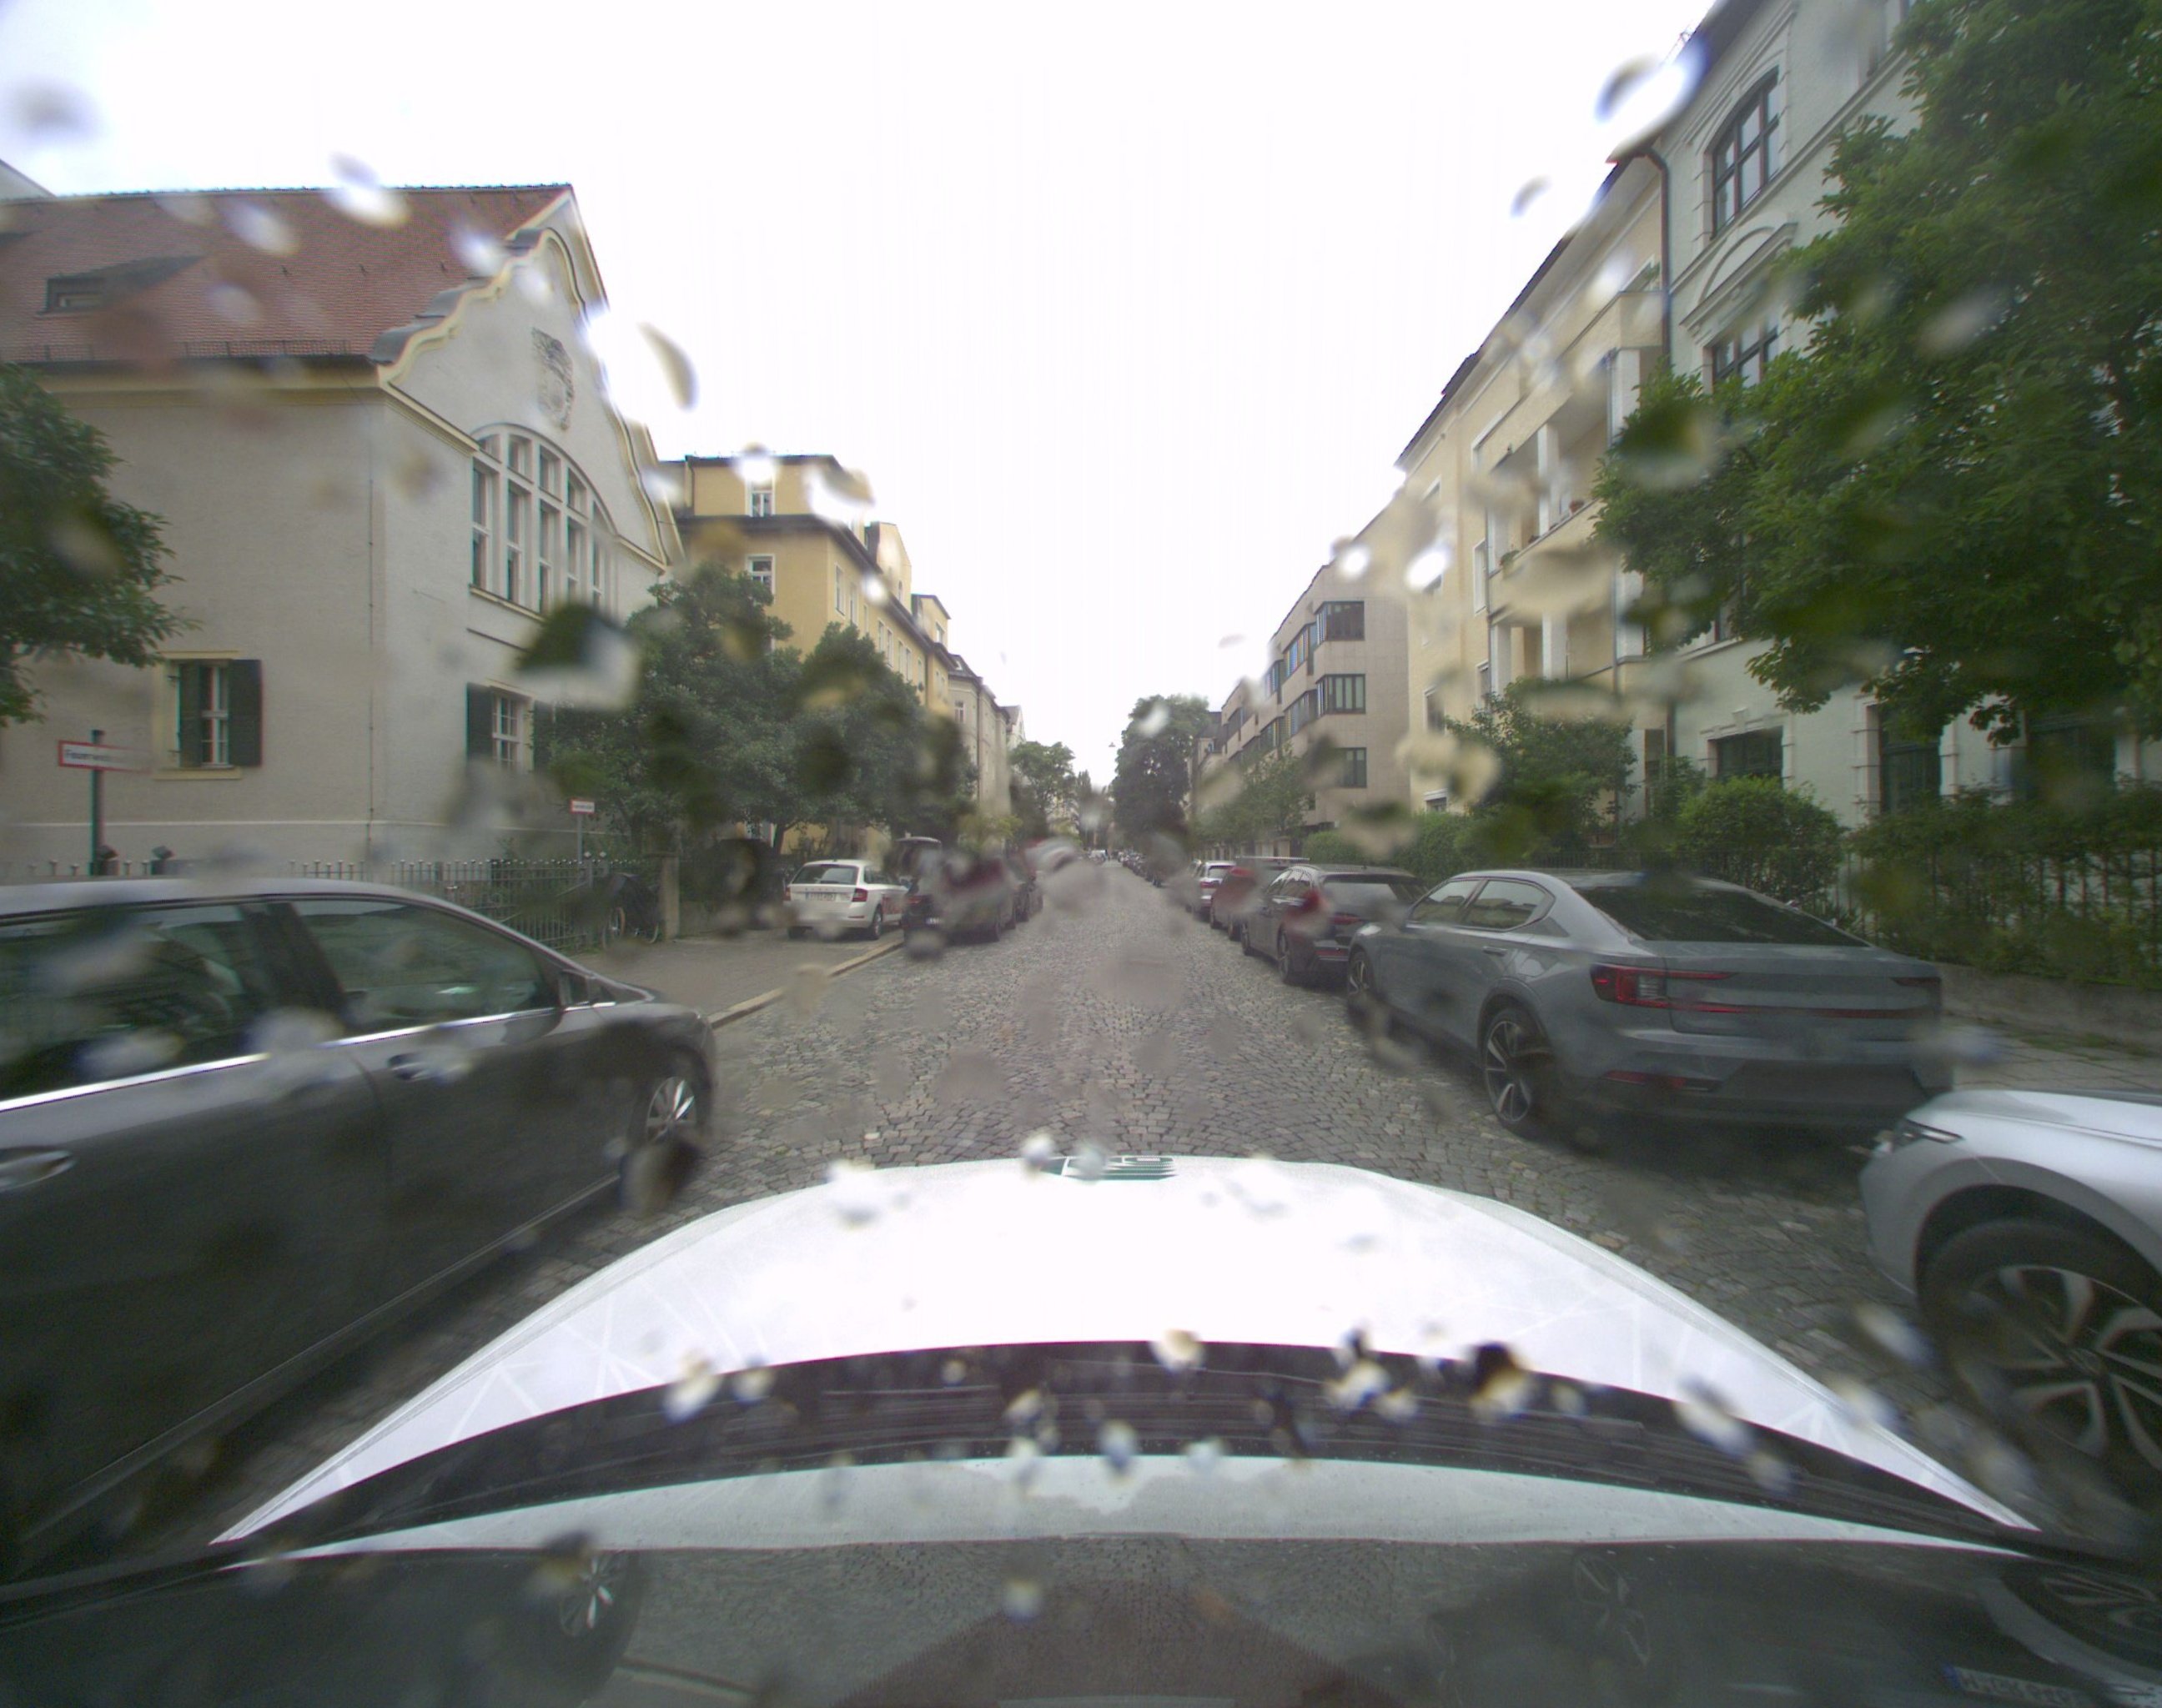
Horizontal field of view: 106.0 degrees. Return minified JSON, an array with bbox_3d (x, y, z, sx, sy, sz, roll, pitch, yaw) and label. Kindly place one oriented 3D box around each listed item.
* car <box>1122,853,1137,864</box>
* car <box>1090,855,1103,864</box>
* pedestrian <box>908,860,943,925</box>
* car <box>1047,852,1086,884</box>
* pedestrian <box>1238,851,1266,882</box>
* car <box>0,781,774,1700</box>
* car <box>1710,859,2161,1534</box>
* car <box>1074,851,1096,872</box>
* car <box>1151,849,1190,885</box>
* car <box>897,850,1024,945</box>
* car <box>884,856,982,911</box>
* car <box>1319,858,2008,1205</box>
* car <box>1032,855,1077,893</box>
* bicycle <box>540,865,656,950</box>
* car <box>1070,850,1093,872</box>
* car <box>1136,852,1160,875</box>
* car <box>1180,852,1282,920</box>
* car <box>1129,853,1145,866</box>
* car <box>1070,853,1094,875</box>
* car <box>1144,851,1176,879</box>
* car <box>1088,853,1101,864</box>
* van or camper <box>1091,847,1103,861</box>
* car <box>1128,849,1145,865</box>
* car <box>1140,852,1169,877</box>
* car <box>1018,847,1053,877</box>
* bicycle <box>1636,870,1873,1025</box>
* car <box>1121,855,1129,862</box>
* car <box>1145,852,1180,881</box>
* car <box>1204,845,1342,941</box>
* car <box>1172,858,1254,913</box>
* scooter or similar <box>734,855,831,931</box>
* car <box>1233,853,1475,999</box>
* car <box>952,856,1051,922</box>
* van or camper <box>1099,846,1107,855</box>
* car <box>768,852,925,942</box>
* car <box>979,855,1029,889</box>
[{"bbox_3d":[6.965,0.711,118.247,1.867,1.503,4.511,2,0,0],"label":"car"},{"bbox_3d":[2.795,0.991,144.215,1.864,1.580,4.214,2,0,5],"label":"car"},{"bbox_3d":[-4.056,0.994,21.229,0.762,1.650,0.583,0,0,3],"label":"pedestrian"},{"bbox_3d":[-0.859,0.818,50.569,1.998,1.809,5.178,-2,0,3],"label":"car"},{"bbox_3d":[8.634,0.607,41.215,1.211,1.493,1.131,-3,0,4],"label":"pedestrian"},{"bbox_3d":[-2.771,0.698,2.946,1.734,1.586,4.190,-2,0,-1],"label":"car"},{"bbox_3d":[3.197,0.770,0.854,1.748,1.460,4.483,2,0,3],"label":"car"},{"bbox_3d":[0.414,0.732,81.584,1.986,1.917,5.178,-4,0,1],"label":"car"},{"bbox_3d":[4.669,0.645,42.778,1.613,1.751,3.888,2,0,1],"label":"car"},{"bbox_3d":[-2.265,0.765,16.489,1.733,1.603,4.538,-2,0,1],"label":"car"},{"bbox_3d":[-4.143,0.774,23.583,1.768,1.417,4.565,1,0,3],"label":"car"},{"bbox_3d":[3.340,0.813,6.105,1.875,1.488,4.817,2,0,3],"label":"car"},{"bbox_3d":[-1.157,0.862,37.197,1.707,1.562,4.392,-2,0,2],"label":"car"},{"bbox_3d":[-7.844,0.819,13.349,0.603,1.259,2.061,0,0,2],"label":"bicycle"},{"bbox_3d":[0.088,0.610,75.180,1.866,1.917,4.828,-3,0,1],"label":"car"},{"bbox_3d":[5.576,0.772,67.801,1.865,1.735,4.896,1,0,3],"label":"car"},{"bbox_3d":[3.784,0.745,21.370,1.985,1.552,4.989,1,0,3],"label":"car"},{"bbox_3d":[6.915,0.707,100.530,1.829,1.490,4.425,2,0,3],"label":"car"},{"bbox_3d":[0.056,0.817,70.033,1.859,1.735,4.402,-3,0,-1],"label":"car"},{"bbox_3d":[5.434,0.729,56.687,1.782,1.796,4.510,3,0,1],"label":"car"},{"bbox_3d":[2.145,0.728,126.629,1.867,1.580,4.255,-3,0,0],"label":"car"},{"bbox_3d":[3.115,0.026,159.172,1.985,2.652,4.003,-3,0,3],"label":"van or camper"},{"bbox_3d":[7.177,0.373,106.241,1.867,1.928,5.163,2,0,0],"label":"car"},{"bbox_3d":[5.597,0.776,62.709,1.866,1.735,4.660,3,0,1],"label":"car"},{"bbox_3d":[-3.104,0.542,56.233,1.987,1.931,5.331,1,0,1],"label":"car"},{"bbox_3d":[5.941,0.754,7.315,0.580,1.195,1.641,0,0,-12],"label":"bicycle"},{"bbox_3d":[9.740,1.001,179.918,1.783,1.520,4.003,0,0,3],"label":"car"},{"bbox_3d":[5.084,0.759,51.250,1.853,1.702,4.815,2,0,2],"label":"car"},{"bbox_3d":[3.696,0.684,16.443,1.886,1.654,4.295,1,0,2],"label":"car"},{"bbox_3d":[4.186,0.943,26.597,1.986,1.552,5.017,2,0,2],"label":"car"},{"bbox_3d":[-6.502,0.797,17.949,1.058,1.523,2.636,-1,0,2],"label":"scooter or similar"},{"bbox_3d":[3.388,0.778,11.243,1.811,1.488,5.053,2,0,3],"label":"car"},{"bbox_3d":[-1.958,0.830,21.478,1.807,1.455,4.916,-3,0,3],"label":"car"},{"bbox_3d":[6.676,-0.977,243.787,2.247,2.742,5.101,0,0,2],"label":"van or camper"},{"bbox_3d":[-4.510,0.754,16.429,1.733,1.536,4.468,1,0,1],"label":"car"},{"bbox_3d":[-3.585,0.805,38.739,1.708,1.497,4.724,2,0,2],"label":"car"}]
